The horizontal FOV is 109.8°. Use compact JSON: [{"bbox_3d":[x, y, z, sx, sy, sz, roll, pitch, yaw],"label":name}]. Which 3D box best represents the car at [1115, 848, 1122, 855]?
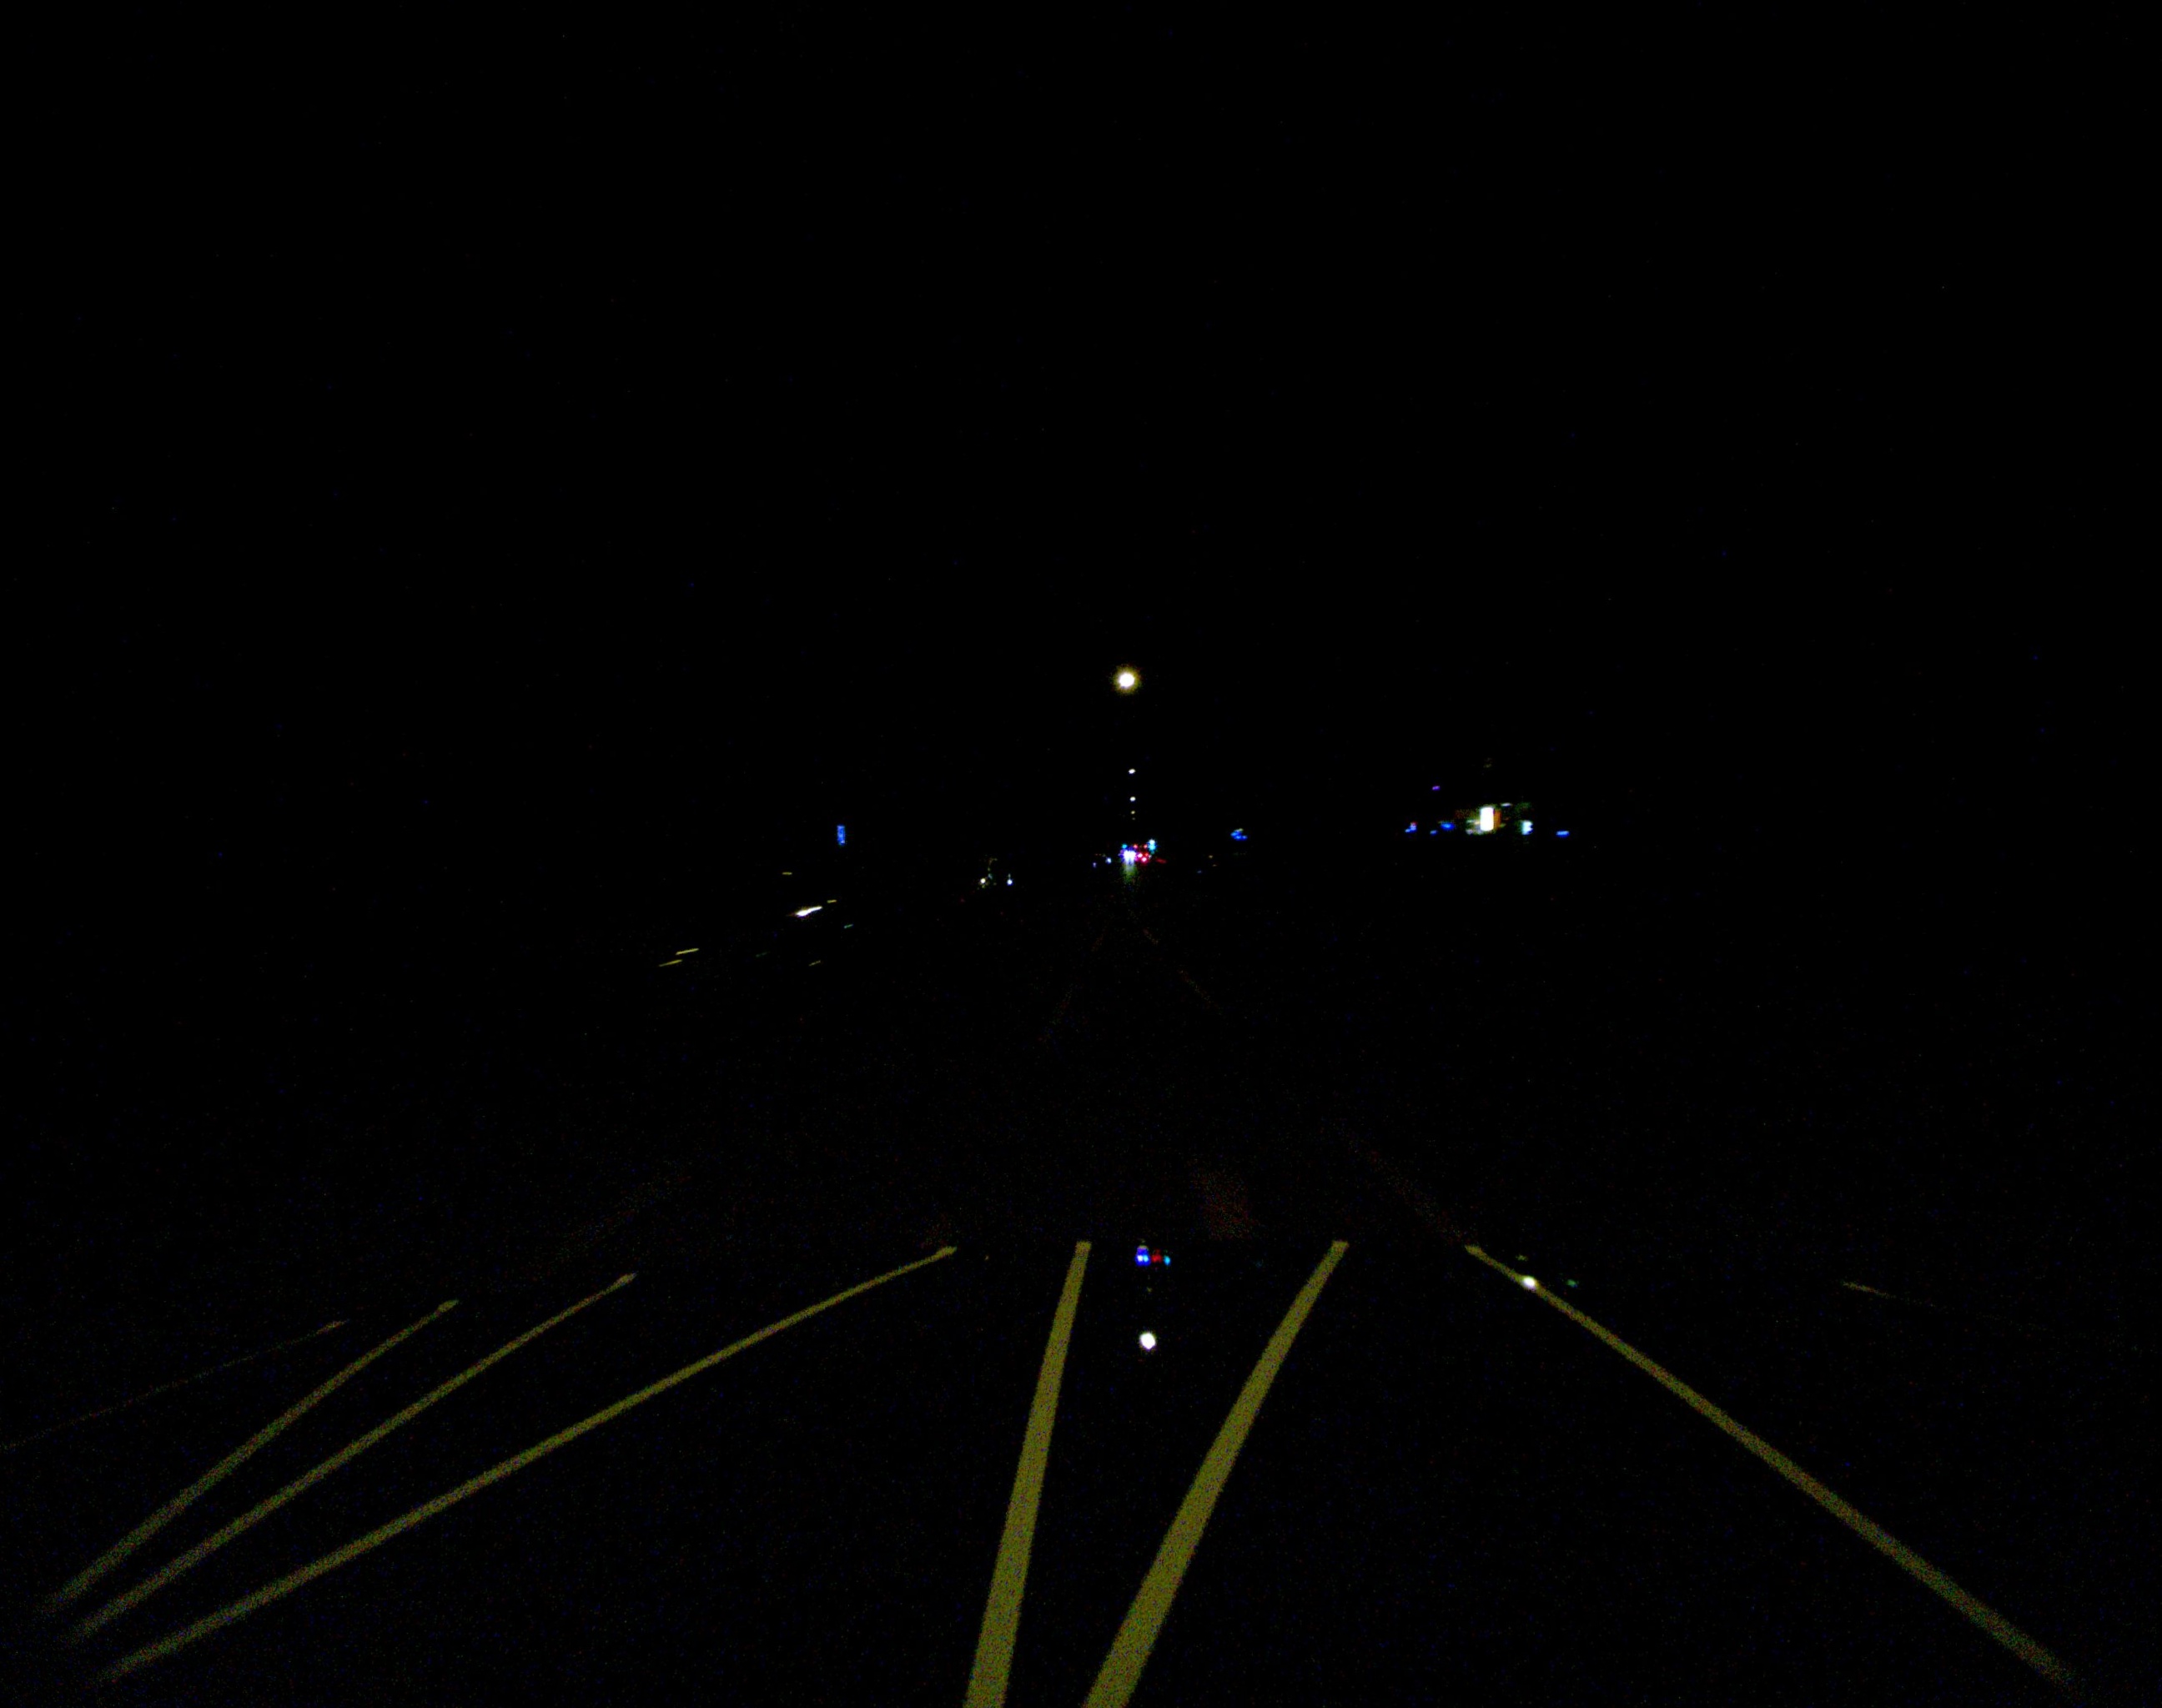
[{"bbox_3d":[9.554,-0.685,192.703,1.792,1.829,3.846,-2,0,3],"label":"car"}]

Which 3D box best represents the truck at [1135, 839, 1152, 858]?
[{"bbox_3d":[12.253,-1.064,149.300,3.221,3.359,8.853,-2,0,5],"label":"truck"}]

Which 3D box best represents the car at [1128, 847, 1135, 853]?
[{"bbox_3d":[14.726,-1.079,221.490,1.774,1.672,3.815,-2,0,4],"label":"car"}]

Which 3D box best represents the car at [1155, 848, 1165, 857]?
[{"bbox_3d":[15.680,-0.299,151.422,1.873,1.551,4.354,-2,0,5],"label":"car"}]

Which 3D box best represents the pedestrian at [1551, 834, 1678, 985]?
[{"bbox_3d":[6.267,0.614,8.993,0.744,1.662,1.103,-2,1,3],"label":"pedestrian"}]

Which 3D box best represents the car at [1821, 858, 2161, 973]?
[{"bbox_3d":[14.112,0.840,11.920,3.331,1.528,2.004,0,1,36],"label":"car"}]

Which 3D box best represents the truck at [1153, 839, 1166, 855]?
[{"bbox_3d":[13.280,-1.106,128.568,2.084,2.562,6.876,-2,0,5],"label":"truck"}]

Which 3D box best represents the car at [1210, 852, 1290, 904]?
[{"bbox_3d":[5.689,0.754,26.171,1.864,1.523,4.589,-3,0,3],"label":"car"}]

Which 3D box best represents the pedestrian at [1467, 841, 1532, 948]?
[{"bbox_3d":[6.974,0.661,12.693,0.670,1.716,0.867,-2,0,10],"label":"pedestrian"}]

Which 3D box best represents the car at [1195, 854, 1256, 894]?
[{"bbox_3d":[5.887,0.769,31.343,1.864,1.458,3.898,-3,0,3],"label":"car"}]

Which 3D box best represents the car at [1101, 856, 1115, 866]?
[{"bbox_3d":[3.828,0.967,108.992,1.873,1.407,4.001,-2,0,3],"label":"car"}]

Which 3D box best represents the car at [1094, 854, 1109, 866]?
[{"bbox_3d":[2.764,0.782,101.361,1.873,1.407,4.001,-2,0,3],"label":"car"}]

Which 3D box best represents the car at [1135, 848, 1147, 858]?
[{"bbox_3d":[10.122,-0.182,127.939,1.873,1.635,4.001,-2,0,5],"label":"car"}]

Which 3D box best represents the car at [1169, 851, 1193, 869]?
[{"bbox_3d":[9.718,0.552,73.978,1.873,1.635,4.000,-2,0,1],"label":"car"}]

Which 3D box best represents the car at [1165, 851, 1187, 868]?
[{"bbox_3d":[9.773,0.580,78.424,1.873,1.635,4.000,-2,0,1],"label":"car"}]

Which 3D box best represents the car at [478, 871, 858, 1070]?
[{"bbox_3d":[-4.058,1.019,8.372,1.864,1.544,4.046,1,0,2],"label":"car"}]

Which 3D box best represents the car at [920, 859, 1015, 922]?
[{"bbox_3d":[-3.127,0.949,21.800,1.741,1.588,4.360,1,0,5],"label":"car"}]

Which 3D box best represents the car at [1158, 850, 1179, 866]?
[{"bbox_3d":[9.754,0.447,84.656,1.873,1.635,4.000,-2,0,1],"label":"car"}]

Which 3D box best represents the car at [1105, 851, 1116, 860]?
[{"bbox_3d":[5.300,0.253,138.054,1.873,1.407,4.001,-2,0,3],"label":"car"}]

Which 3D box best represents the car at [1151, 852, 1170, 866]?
[{"bbox_3d":[9.718,0.605,93.087,1.873,1.635,4.000,-2,0,1],"label":"car"}]
